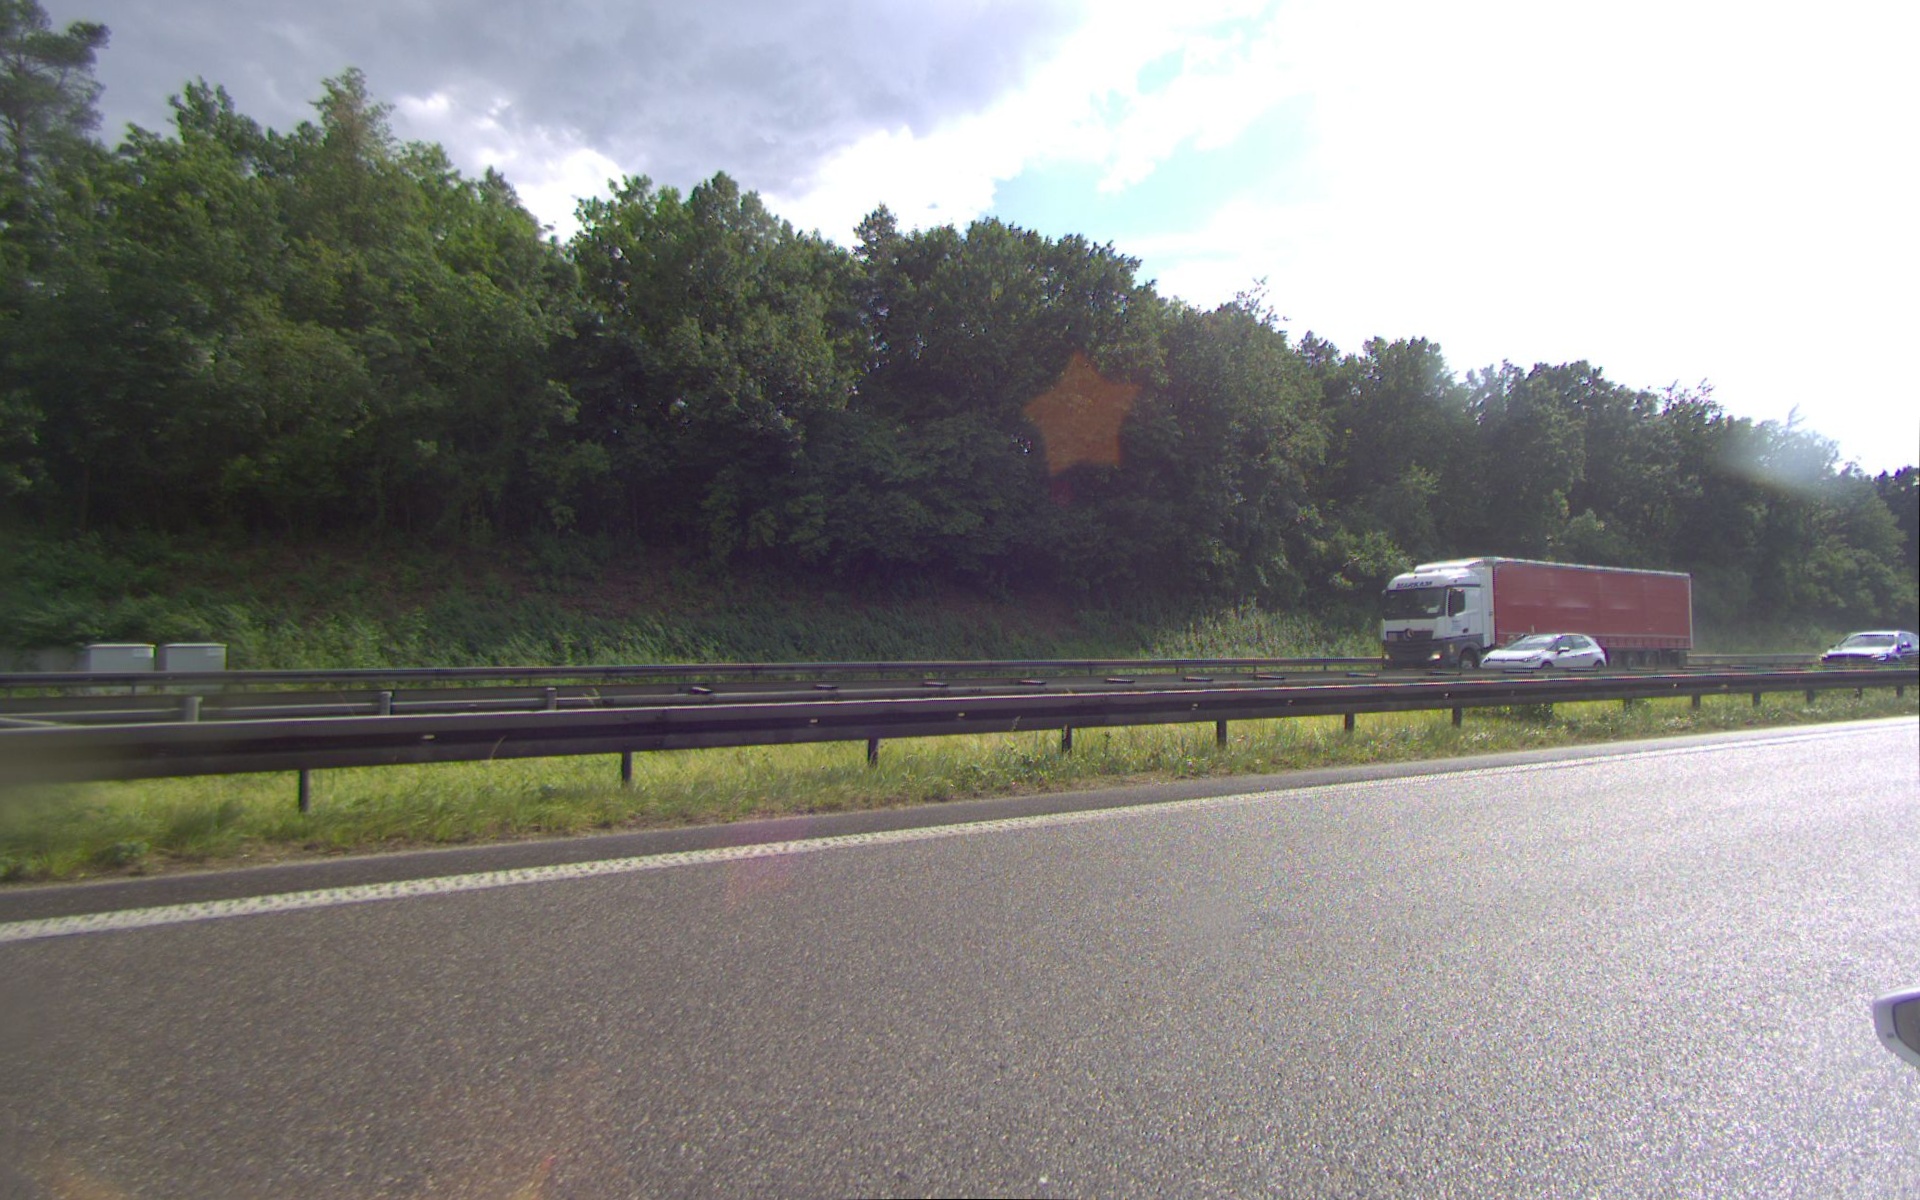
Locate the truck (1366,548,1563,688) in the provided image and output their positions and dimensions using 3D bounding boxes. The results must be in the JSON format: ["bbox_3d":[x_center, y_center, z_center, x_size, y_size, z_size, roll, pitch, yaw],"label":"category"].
[{"bbox_3d":[17.548,0.655,34.842,6.789,4.431,2.849,2,0,-31],"label":"truck"}]

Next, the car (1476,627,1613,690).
[{"bbox_3d":[17.409,1.708,29.855,4.187,1.685,1.691,2,0,-31],"label":"car"}]

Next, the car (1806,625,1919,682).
[{"bbox_3d":[29.826,1.726,32.949,4.390,1.685,1.828,2,0,-31],"label":"car"}]

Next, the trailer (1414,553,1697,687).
[{"bbox_3d":[22.875,0.816,38.012,13.929,4.431,2.849,2,0,-31],"label":"trailer"}]
